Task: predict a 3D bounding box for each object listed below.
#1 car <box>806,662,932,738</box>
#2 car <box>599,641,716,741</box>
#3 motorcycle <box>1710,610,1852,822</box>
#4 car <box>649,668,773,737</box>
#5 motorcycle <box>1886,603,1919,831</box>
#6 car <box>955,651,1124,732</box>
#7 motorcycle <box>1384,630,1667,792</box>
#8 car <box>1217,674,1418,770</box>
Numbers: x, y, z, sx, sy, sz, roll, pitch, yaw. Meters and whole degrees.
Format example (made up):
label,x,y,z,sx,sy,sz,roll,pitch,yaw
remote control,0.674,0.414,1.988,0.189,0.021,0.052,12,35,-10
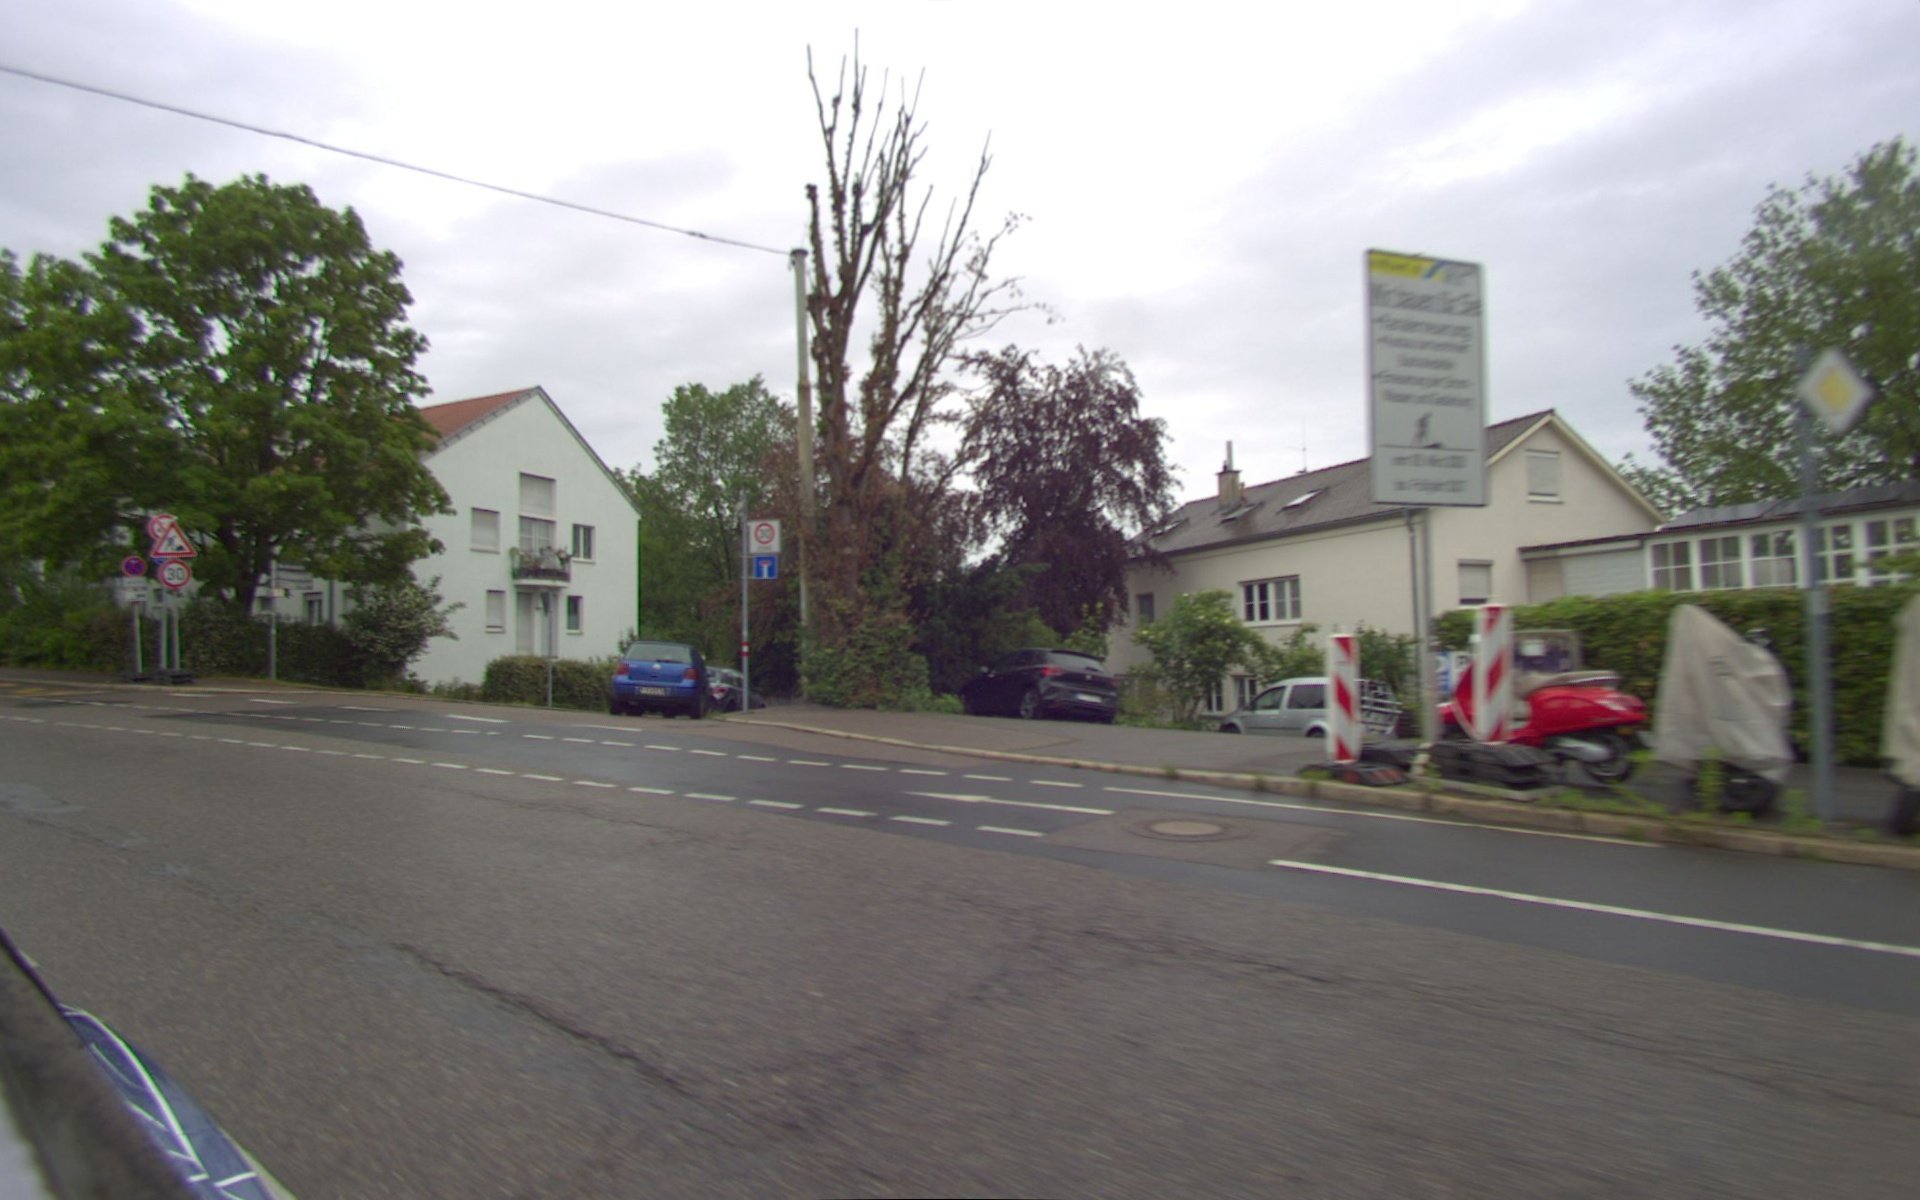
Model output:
label,x,y,z,sx,sy,sz,roll,pitch,yaw
car,-3.158,3.558,35.705,2.054,2.427,3.945,-1,-7,42
car,-5.900,1.725,20.151,1.812,1.678,3.951,3,-2,-12
motorcycle,5.703,0.724,6.993,1.780,1.289,0.511,0,-3,-44
car,-6.325,2.584,26.218,1.819,1.505,4.073,1,-3,6
motorcycle,6.447,0.649,5.922,1.777,1.313,0.615,-2,-1,-16
car,1.398,1.674,19.140,1.528,1.337,3.574,3,-4,-27
motorcycle,4.462,0.843,8.147,0.503,1.149,1.926,3,-5,-37
car,7.647,2.565,22.023,1.757,1.653,3.955,3,-2,-27
